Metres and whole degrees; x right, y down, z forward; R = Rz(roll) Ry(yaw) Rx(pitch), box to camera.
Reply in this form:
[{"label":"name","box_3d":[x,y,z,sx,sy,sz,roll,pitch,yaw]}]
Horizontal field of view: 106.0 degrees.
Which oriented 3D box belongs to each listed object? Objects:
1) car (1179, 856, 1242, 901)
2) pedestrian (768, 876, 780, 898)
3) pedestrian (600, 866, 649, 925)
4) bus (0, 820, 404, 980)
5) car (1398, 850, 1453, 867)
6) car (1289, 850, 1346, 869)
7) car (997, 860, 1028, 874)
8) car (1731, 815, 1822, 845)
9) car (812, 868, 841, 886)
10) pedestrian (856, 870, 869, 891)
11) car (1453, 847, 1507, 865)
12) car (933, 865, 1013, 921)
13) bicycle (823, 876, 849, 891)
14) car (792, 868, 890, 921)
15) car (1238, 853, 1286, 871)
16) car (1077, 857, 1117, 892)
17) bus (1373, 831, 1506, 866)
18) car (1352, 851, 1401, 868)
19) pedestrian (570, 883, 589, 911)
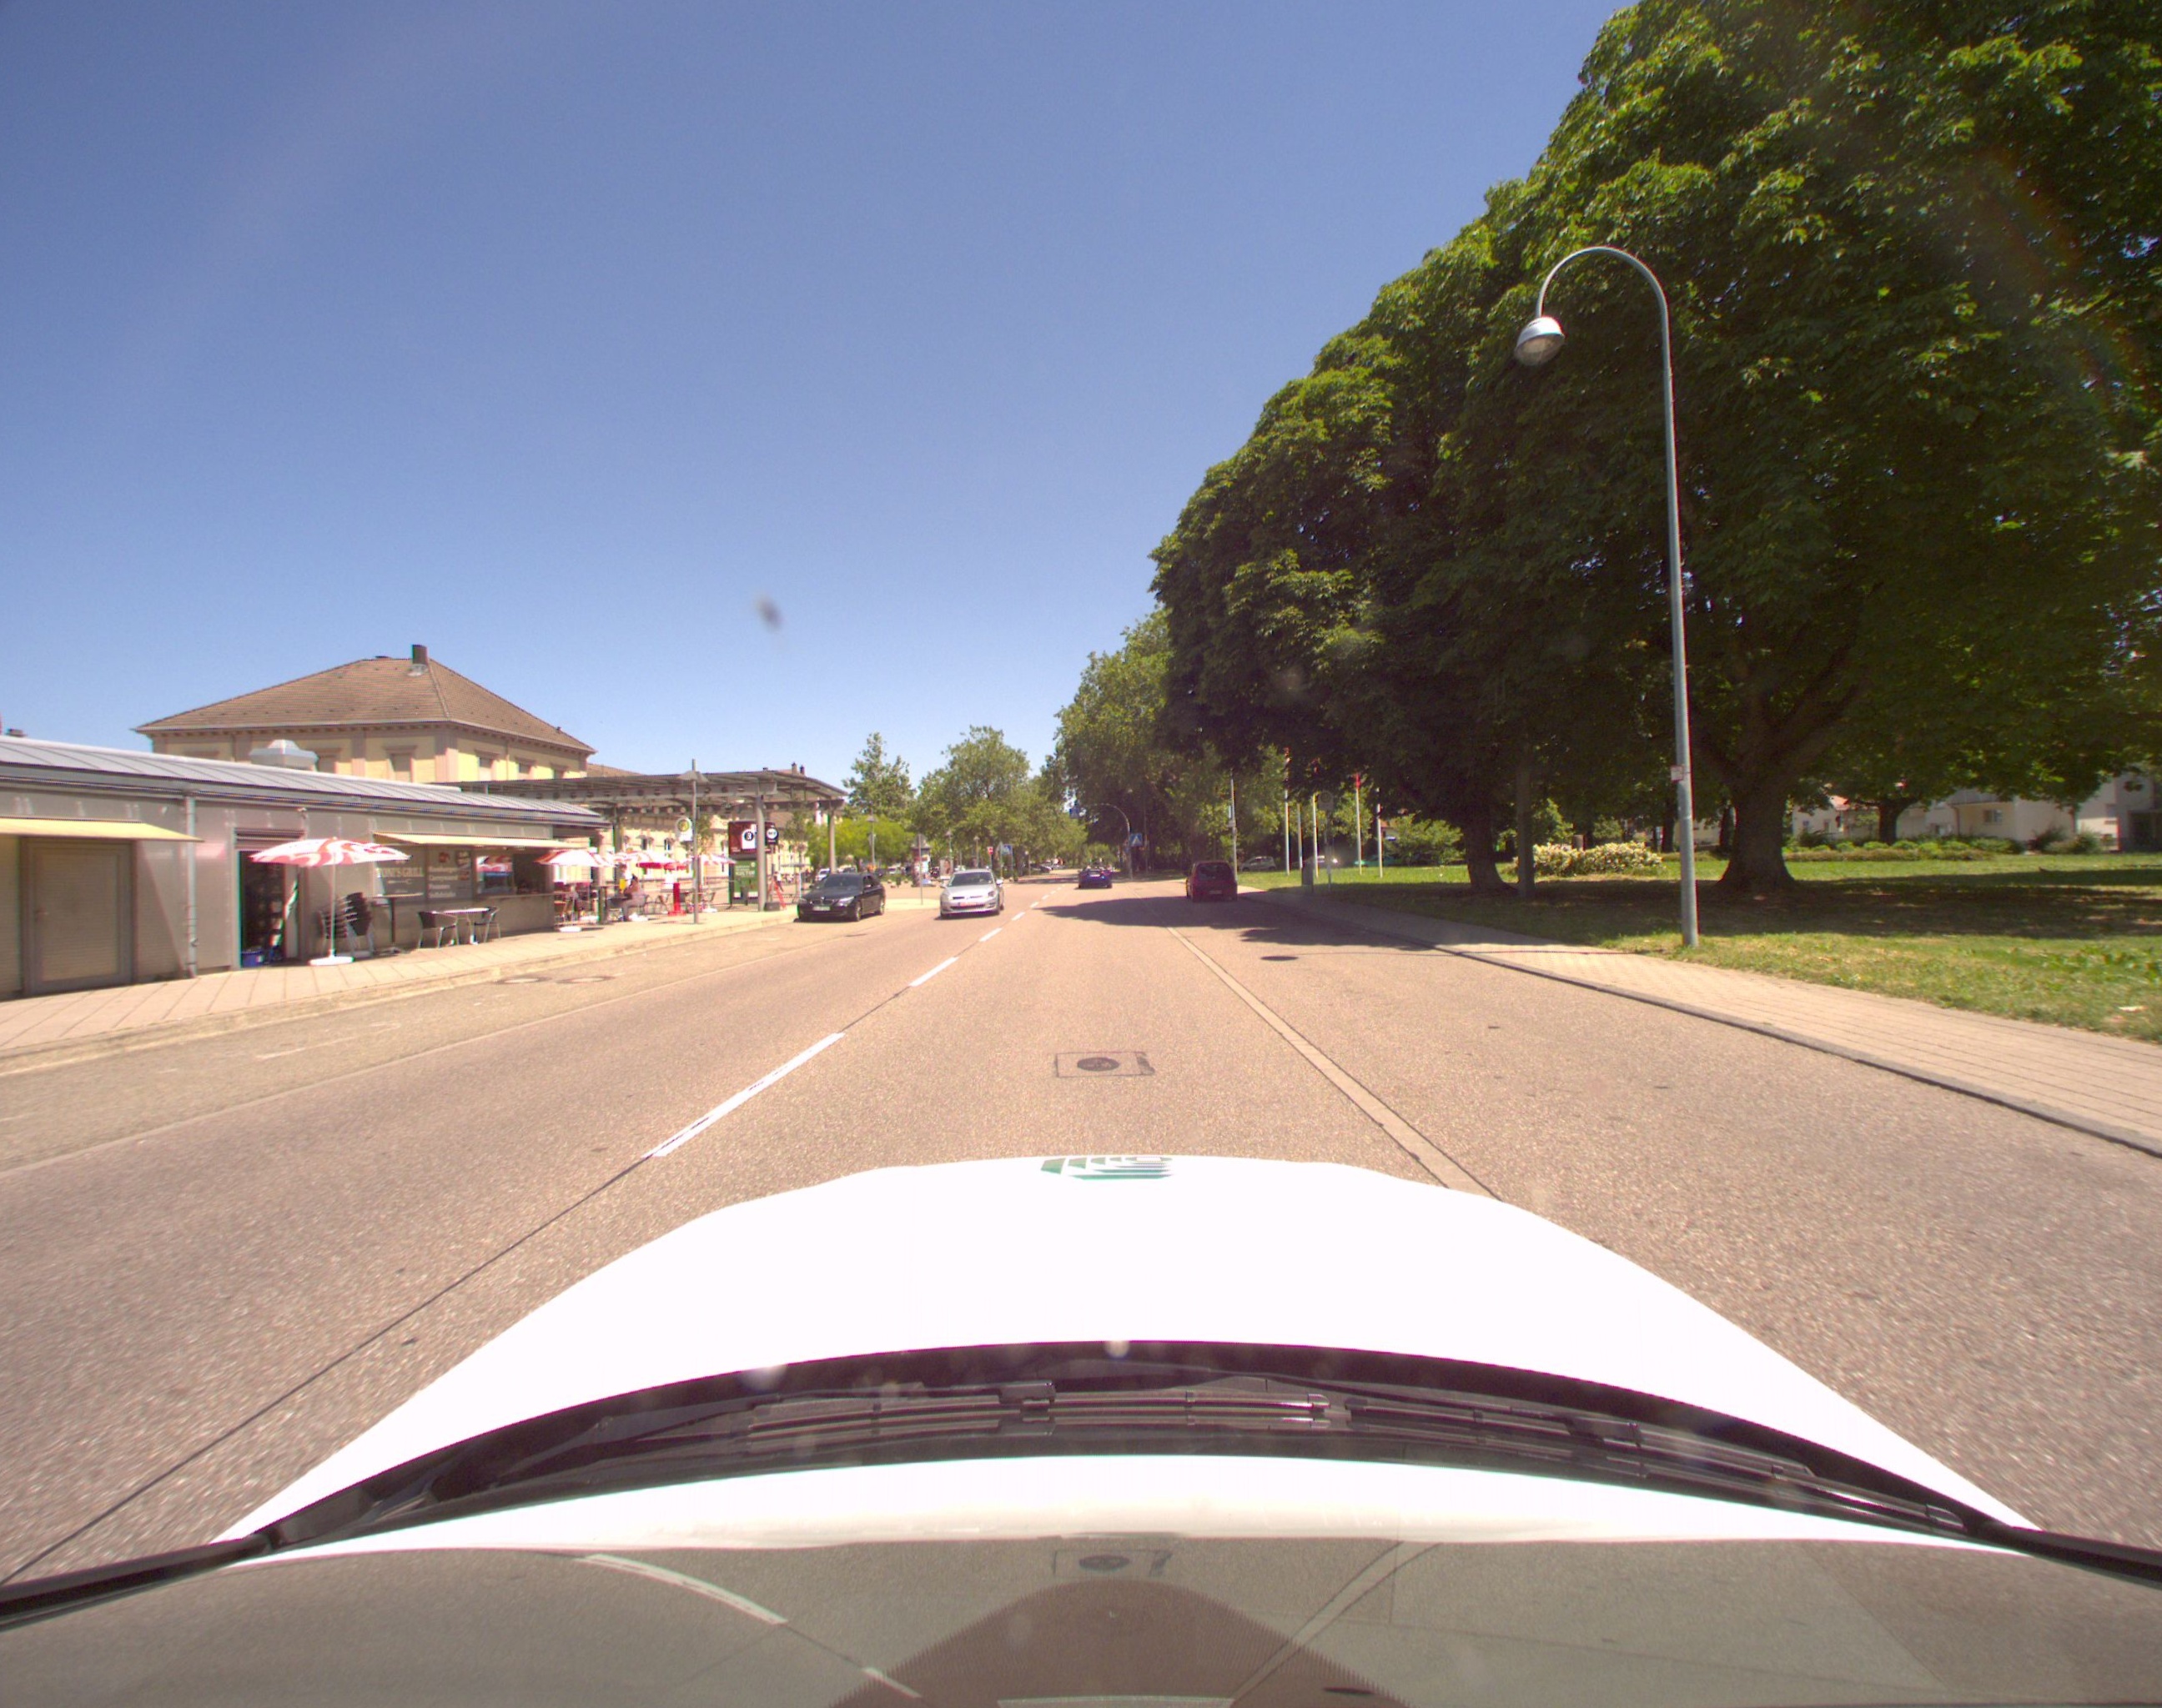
[{"label":"car","box_3d":[4.649,0.858,29.667,1.713,1.478,3.706,-2,-1,1]},{"label":"pedestrian","box_3d":[-23.684,2.538,62.786,0.623,1.673,0.661,-5,-4,45]},{"label":"pedestrian","box_3d":[-14.724,1.331,26.290,0.793,1.828,1.147,-3,-3,18]},{"label":"bus","box_3d":[-23.076,0.993,19.733,2.953,3.233,11.855,-2,0,3]},{"label":"car","box_3d":[32.397,0.431,76.570,4.321,1.416,2.000,-1,-2,1]},{"label":"car","box_3d":[22.221,0.510,76.515,4.801,1.607,2.003,-2,-1,4]},{"label":"car","box_3d":[-9.436,1.783,112.169,3.997,1.782,1.988,-1,-1,-18]},{"label":"car","box_3d":[56.003,-1.881,65.713,5.207,2.090,2.012,-2,-3,29]},{"label":"car","box_3d":[-29.235,2.582,93.617,1.745,1.917,4.775,-2,0,1]},{"label":"pedestrian","box_3d":[-17.572,2.138,65.478,0.754,1.659,0.724,-3,-3,18]},{"label":"car","box_3d":[37.401,0.203,76.343,4.080,1.609,2.001,-1,-2,2]},{"label":"car","box_3d":[-3.327,1.165,25.898,1.808,1.444,4.159,-4,0,1]},{"label":"bicycle","box_3d":[-18.801,2.261,62.479,1.800,1.031,0.485,-1,-1,-23]},{"label":"car","box_3d":[-7.689,1.254,26.546,1.713,1.478,4.784,-2,-1,0]},{"label":"car","box_3d":[17.080,0.740,77.048,4.086,1.466,2.002,-2,-1,4]},{"label":"car","box_3d":[0.857,1.137,46.235,2.118,1.848,4.047,-1,-1,0]},{"label":"bus","box_3d":[36.045,-0.519,82.076,12.336,2.978,2.268,-2,-2,0]},{"label":"car","box_3d":[27.796,0.556,76.657,3.865,1.454,2.001,-1,-2,2]},{"label":"pedestrian","box_3d":[-17.924,1.538,29.124,0.421,0.972,0.373,-3,-3,14]}]
